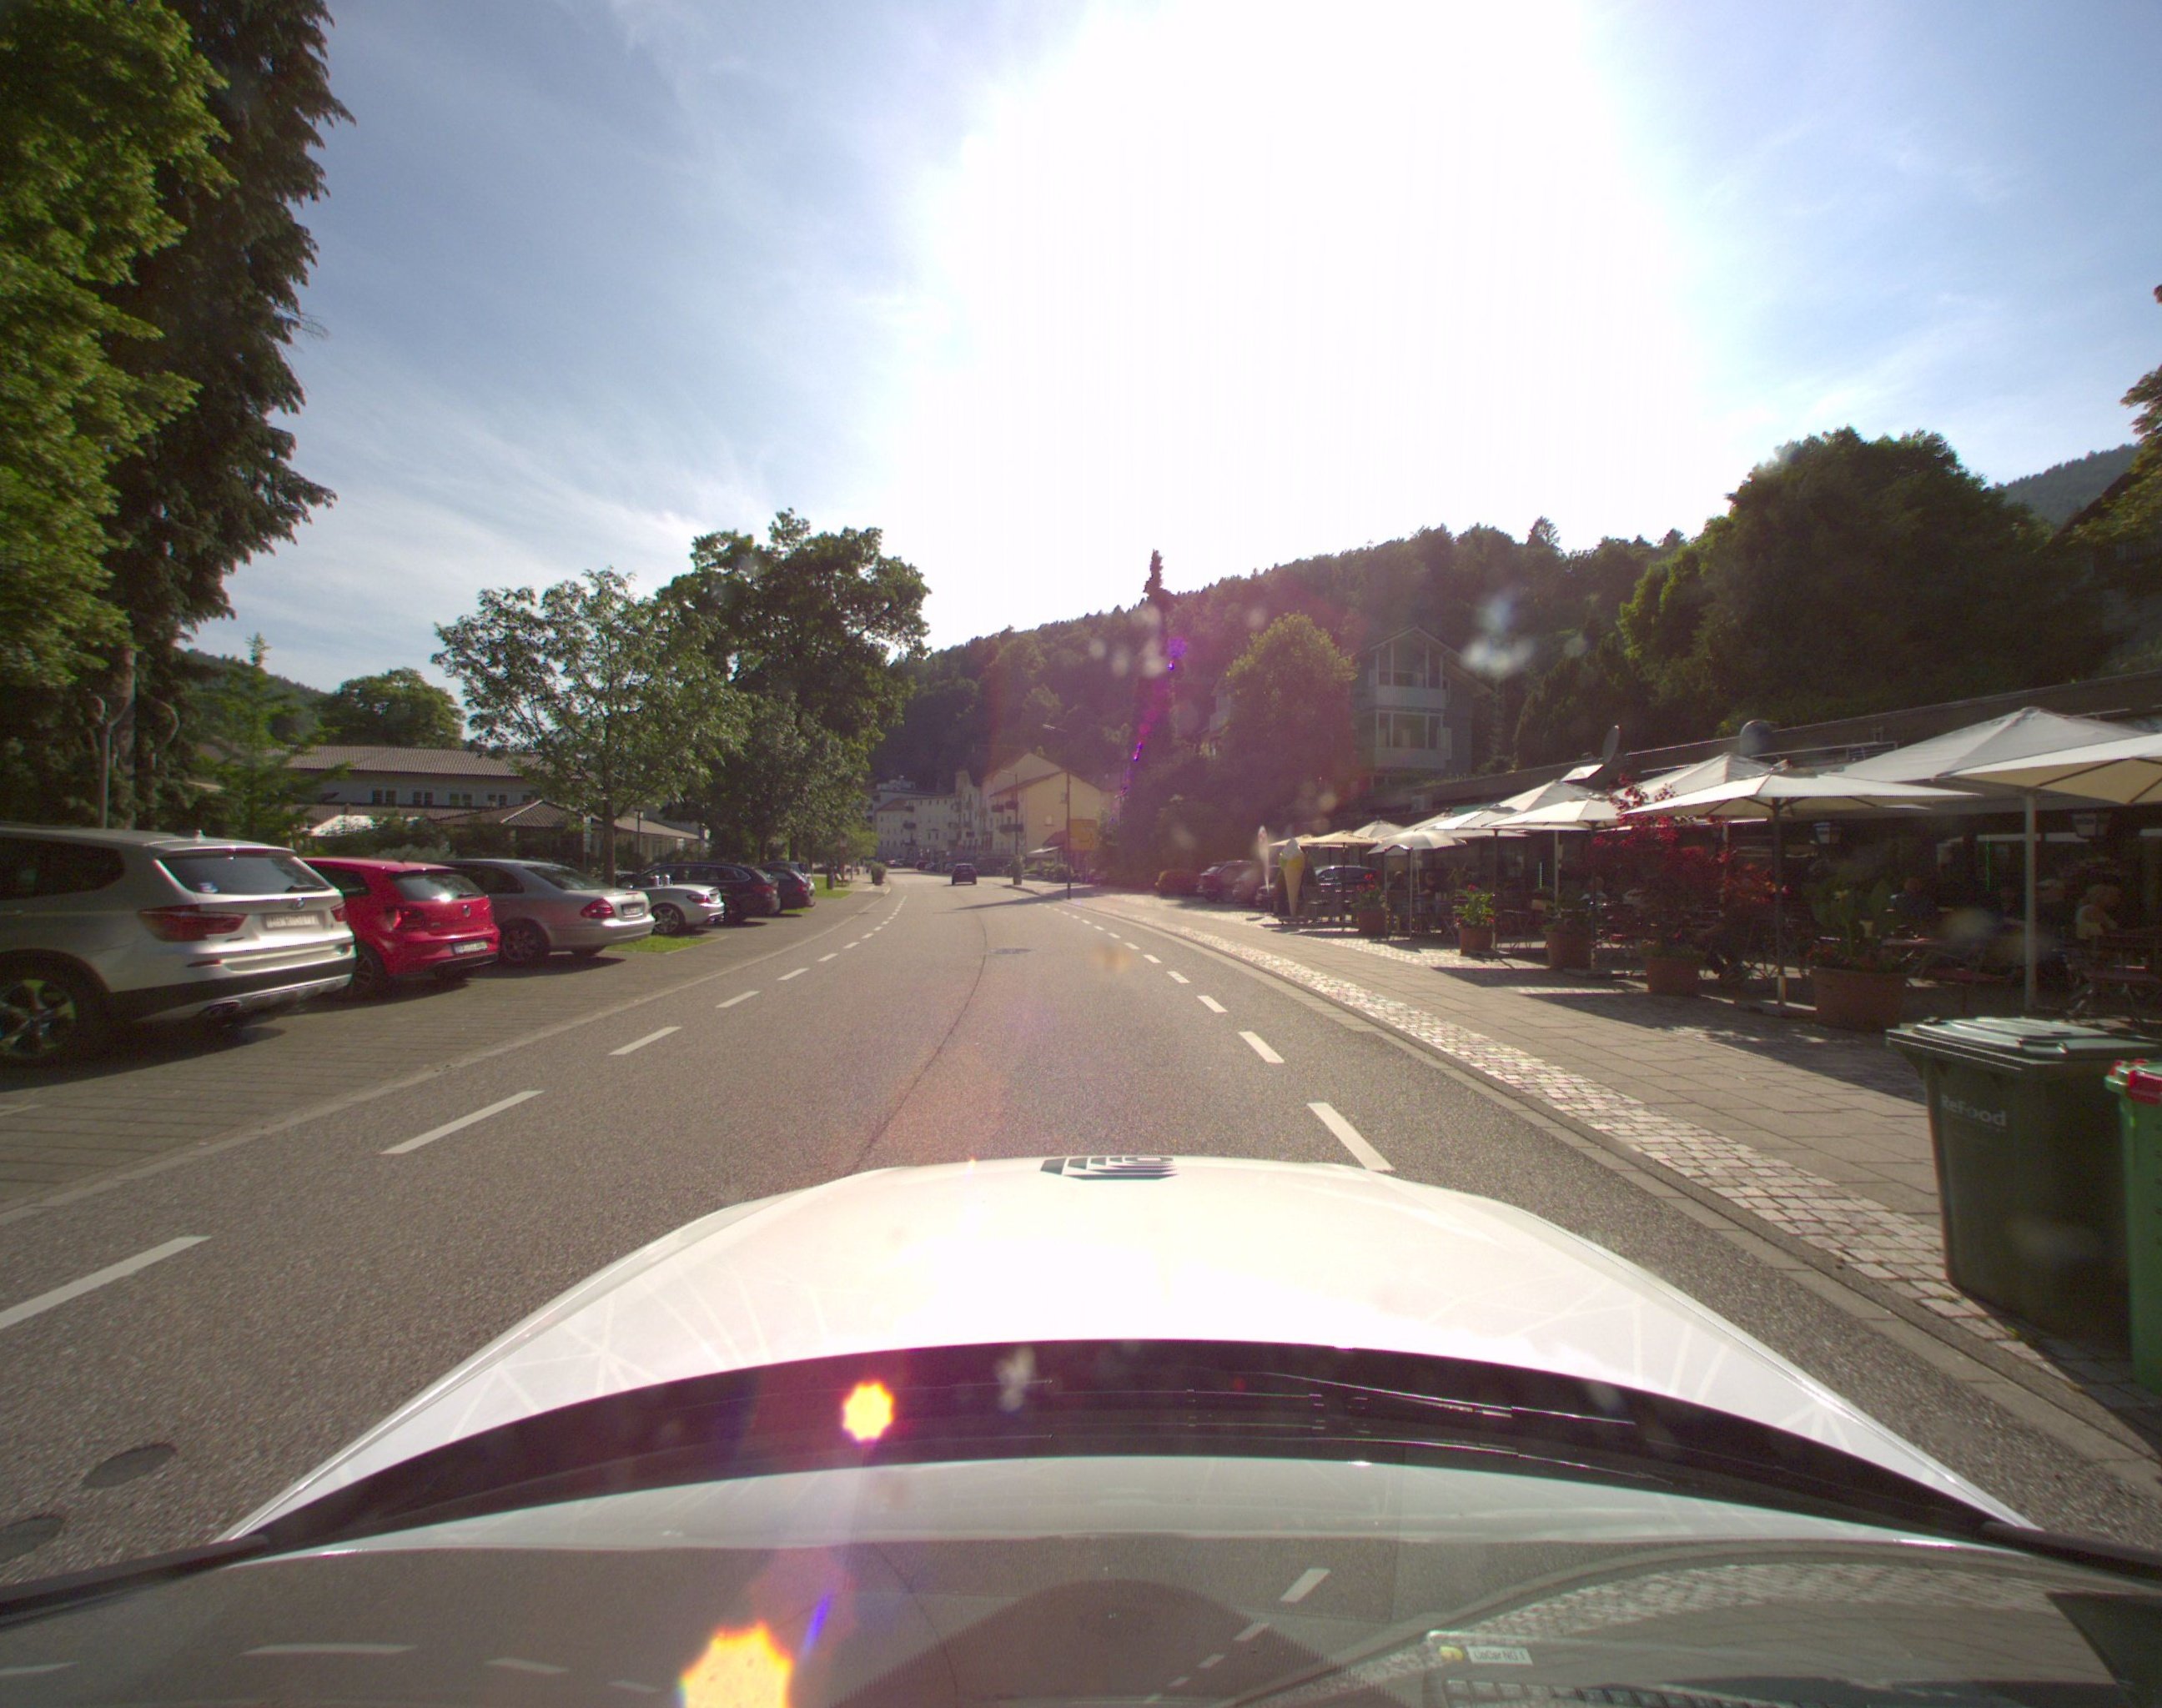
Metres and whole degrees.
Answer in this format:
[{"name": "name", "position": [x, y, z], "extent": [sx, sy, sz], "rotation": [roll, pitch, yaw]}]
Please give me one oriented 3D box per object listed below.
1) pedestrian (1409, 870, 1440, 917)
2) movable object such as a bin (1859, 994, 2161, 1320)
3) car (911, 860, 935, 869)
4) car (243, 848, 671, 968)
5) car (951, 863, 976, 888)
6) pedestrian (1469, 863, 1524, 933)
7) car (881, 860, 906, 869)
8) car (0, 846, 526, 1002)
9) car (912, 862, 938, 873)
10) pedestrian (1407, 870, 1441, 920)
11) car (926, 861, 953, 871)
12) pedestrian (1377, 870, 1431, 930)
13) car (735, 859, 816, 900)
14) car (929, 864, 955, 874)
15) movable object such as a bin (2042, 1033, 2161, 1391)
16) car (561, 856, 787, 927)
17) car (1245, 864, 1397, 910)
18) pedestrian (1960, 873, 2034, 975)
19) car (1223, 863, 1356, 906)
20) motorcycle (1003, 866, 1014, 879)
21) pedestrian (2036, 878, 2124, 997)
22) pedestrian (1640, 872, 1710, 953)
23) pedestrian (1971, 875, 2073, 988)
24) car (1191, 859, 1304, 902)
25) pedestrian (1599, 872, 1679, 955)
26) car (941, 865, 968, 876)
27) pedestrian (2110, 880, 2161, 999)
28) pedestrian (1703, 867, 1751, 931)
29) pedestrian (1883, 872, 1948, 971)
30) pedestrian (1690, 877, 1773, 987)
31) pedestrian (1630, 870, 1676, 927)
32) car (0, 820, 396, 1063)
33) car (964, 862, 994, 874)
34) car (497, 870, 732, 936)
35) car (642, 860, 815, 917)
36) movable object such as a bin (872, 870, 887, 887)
[{"name": "pedestrian", "position": [9.453, 1.080, 22.438], "extent": [0.693, 1.261, 0.816], "rotation": [-1, -1, 16]}, {"name": "movable object such as a bin", "position": [3.218, 0.995, 2.817], "extent": [0.546, 0.925, 0.520], "rotation": [-1, 0, 0]}, {"name": "car", "position": [-29.605, 1.987, 152.454], "extent": [4.044, 1.516, 1.752], "rotation": [-2, 2, -41]}, {"name": "car", "position": [-8.661, 0.765, 11.739], "extent": [4.480, 1.418, 1.804], "rotation": [3, -2, -9]}, {"name": "car", "position": [-8.660, 1.551, 59.987], "extent": [1.727, 1.574, 3.741], "rotation": [2, 0, -9]}, {"name": "pedestrian", "position": [8.591, 0.887, 16.845], "extent": [0.704, 1.381, 0.803], "rotation": [0, -1, -40]}, {"name": "car", "position": [-34.998, 1.904, 151.992], "extent": [4.013, 1.662, 1.980], "rotation": [-1, 0, -32]}, {"name": "car", "position": [-8.787, 0.739, 8.956], "extent": [3.985, 1.432, 1.715], "rotation": [3, -2, -9]}, {"name": "car", "position": [-27.695, 2.348, 144.635], "extent": [4.098, 1.666, 1.760], "rotation": [4, -2, -21]}, {"name": "pedestrian", "position": [8.855, 1.054, 21.048], "extent": [0.693, 1.261, 0.816], "rotation": [-1, -1, 16]}, {"name": "car", "position": [-24.434, 2.027, 140.397], "extent": [4.369, 1.461, 1.761], "rotation": [3, -3, -19]}, {"name": "pedestrian", "position": [6.990, 0.982, 17.637], "extent": [0.812, 1.261, 0.696], "rotation": [0, -1, -19]}, {"name": "car", "position": [-12.320, 1.031, 32.989], "extent": [2.646, 1.547, 1.679], "rotation": [2, -2, -5]}, {"name": "car", "position": [-22.906, 2.536, 134.481], "extent": [3.923, 1.461, 1.724], "rotation": [4, -2, -21]}, {"name": "movable object such as a bin", "position": [3.193, 1.003, 2.263], "extent": [0.512, 0.912, 0.441], "rotation": [-1, 0, 0]}, {"name": "car", "position": [-9.625, 0.890, 19.613], "extent": [4.496, 1.510, 1.706], "rotation": [2, -1, -12]}, {"name": "car", "position": [7.470, 1.007, 25.528], "extent": [4.262, 1.379, 1.703], "rotation": [0, -1, -10]}, {"name": "pedestrian", "position": [12.144, 0.900, 10.812], "extent": [0.573, 1.282, 0.642], "rotation": [-2, -1, 44]}, {"name": "car", "position": [7.179, 1.042, 28.179], "extent": [4.109, 1.415, 1.742], "rotation": [0, -1, -10]}, {"name": "motorcycle", "position": [-7.407, 1.869, 83.092], "extent": [0.698, 1.296, 2.201], "rotation": [-2, 0, -14]}, {"name": "pedestrian", "position": [11.135, 0.909, 9.083], "extent": [0.469, 1.265, 0.438], "rotation": [-1, -1, -14]}, {"name": "pedestrian", "position": [9.651, 0.925, 13.237], "extent": [0.802, 1.261, 0.704], "rotation": [-1, -1, 44]}, {"name": "pedestrian", "position": [11.368, 0.912, 9.852], "extent": [0.530, 1.304, 0.606], "rotation": [-1, -1, -13]}, {"name": "car", "position": [6.277, 0.970, 30.893], "extent": [3.875, 1.580, 1.743], "rotation": [0, -1, -10]}, {"name": "pedestrian", "position": [8.767, 0.919, 12.819], "extent": [0.805, 1.261, 0.702], "rotation": [-1, -1, 8]}, {"name": "car", "position": [-20.101, 2.638, 129.698], "extent": [3.923, 1.589, 1.762], "rotation": [4, -1, -21]}, {"name": "pedestrian", "position": [11.499, 0.902, 8.713], "extent": [0.464, 1.231, 0.394], "rotation": [-1, -1, 25]}, {"name": "pedestrian", "position": [13.428, 0.914, 16.943], "extent": [0.679, 1.299, 0.641], "rotation": [-1, -1, 29]}, {"name": "pedestrian", "position": [11.489, 0.903, 11.225], "extent": [0.573, 1.304, 0.642], "rotation": [-2, -1, 44]}, {"name": "pedestrian", "position": [7.762, 0.907, 9.728], "extent": [0.474, 1.245, 0.588], "rotation": [-1, -2, -26]}, {"name": "pedestrian", "position": [12.558, 0.959, 17.899], "extent": [0.679, 1.209, 0.704], "rotation": [-1, -1, 21]}, {"name": "car", "position": [-8.538, 0.572, 6.361], "extent": [4.480, 1.664, 1.804], "rotation": [3, -2, -9]}, {"name": "car", "position": [-14.621, 1.987, 116.733], "extent": [3.876, 1.555, 1.747], "rotation": [4, -2, -24]}, {"name": "car", "position": [-9.485, 1.001, 16.884], "extent": [3.796, 1.243, 1.756], "rotation": [1, -1, -12]}, {"name": "car", "position": [-9.920, 0.977, 23.304], "extent": [4.285, 1.432, 1.703], "rotation": [3, -2, -17]}, {"name": "movable object such as a bin", "position": [-16.884, 2.053, 68.245], "extent": [1.080, 1.427, 1.370], "rotation": [3, -1, -14]}]
